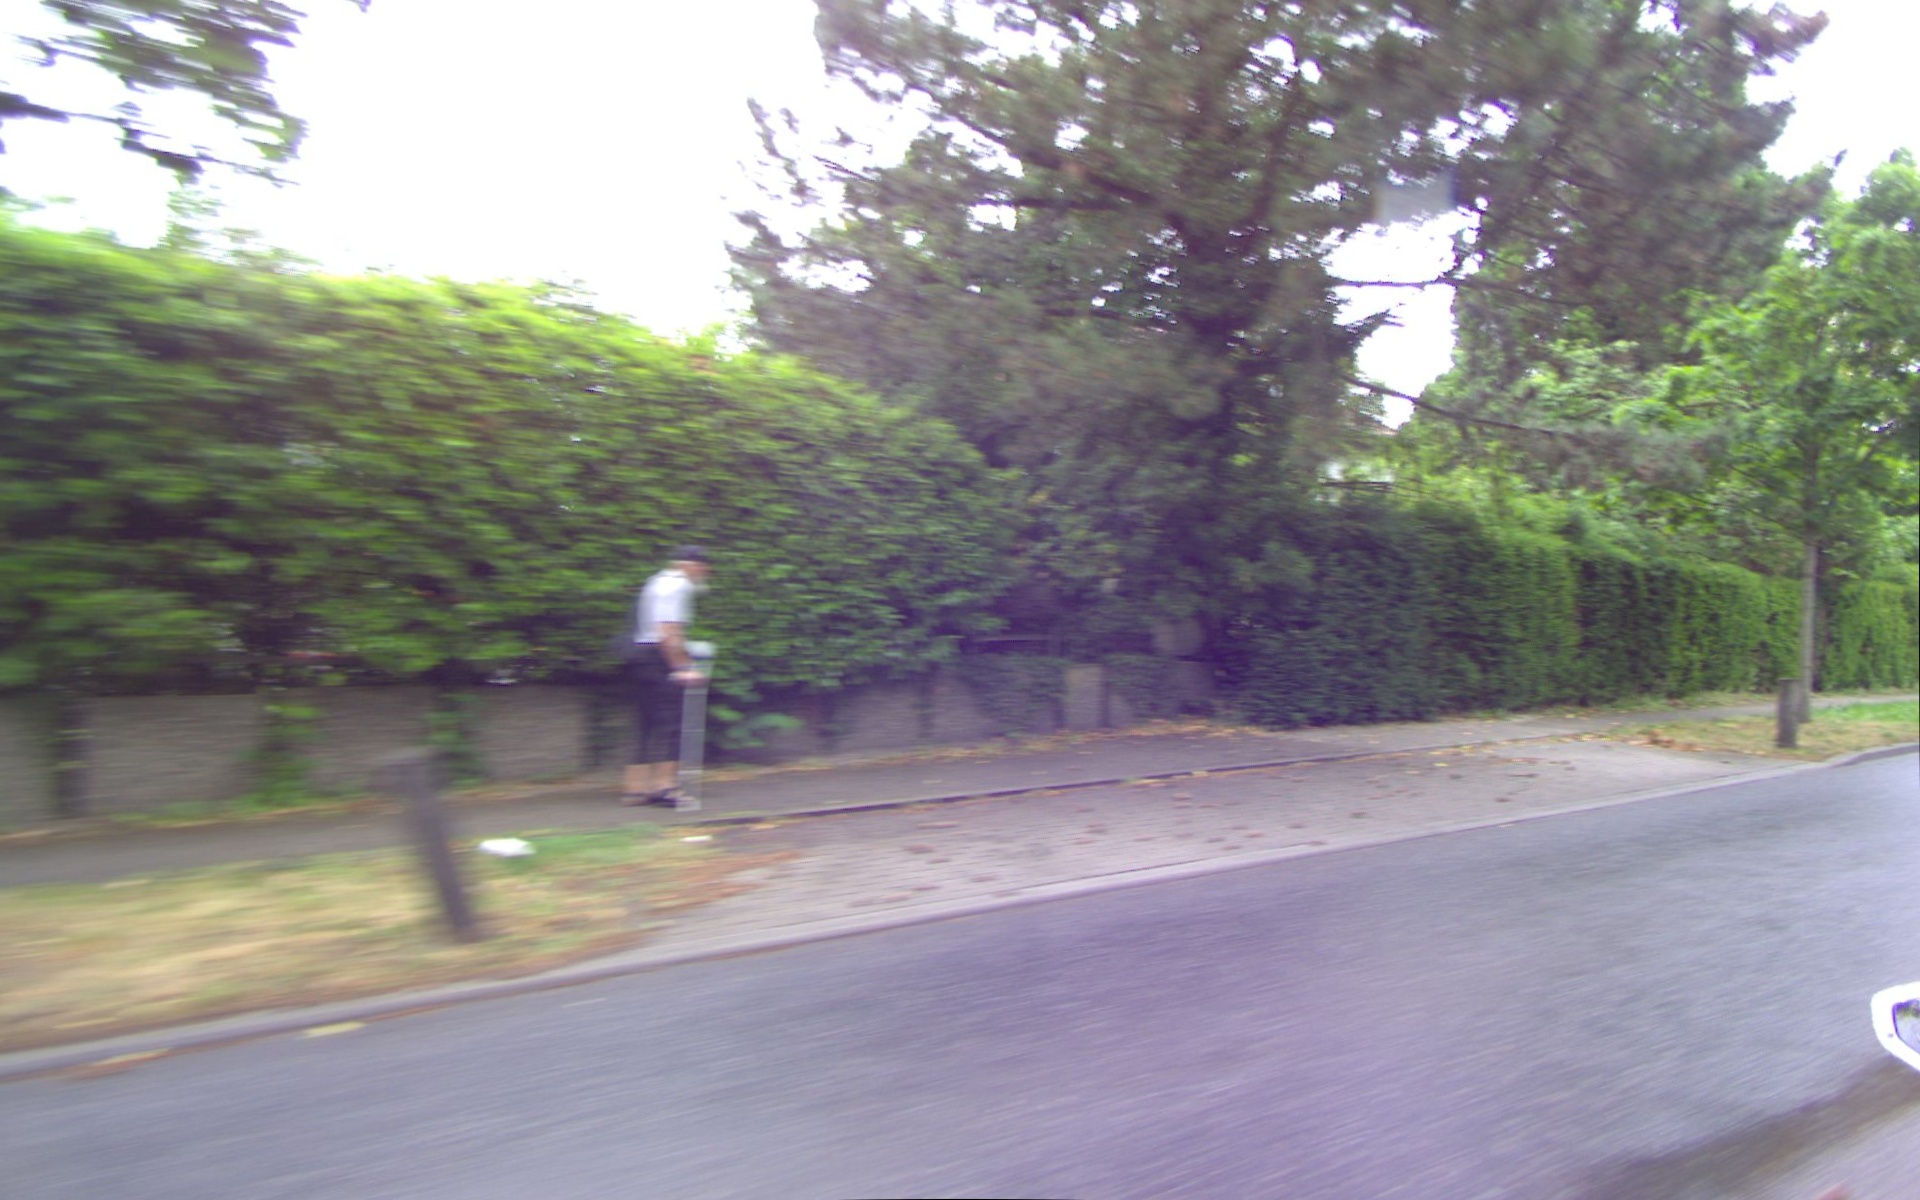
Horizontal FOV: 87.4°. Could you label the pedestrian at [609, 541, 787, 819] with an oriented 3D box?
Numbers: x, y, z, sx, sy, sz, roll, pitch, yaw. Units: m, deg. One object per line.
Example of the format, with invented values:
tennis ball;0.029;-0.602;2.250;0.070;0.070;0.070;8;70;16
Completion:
pedestrian;-1.731;0.483;6.636;0.769;1.684;0.838;2;1;44
